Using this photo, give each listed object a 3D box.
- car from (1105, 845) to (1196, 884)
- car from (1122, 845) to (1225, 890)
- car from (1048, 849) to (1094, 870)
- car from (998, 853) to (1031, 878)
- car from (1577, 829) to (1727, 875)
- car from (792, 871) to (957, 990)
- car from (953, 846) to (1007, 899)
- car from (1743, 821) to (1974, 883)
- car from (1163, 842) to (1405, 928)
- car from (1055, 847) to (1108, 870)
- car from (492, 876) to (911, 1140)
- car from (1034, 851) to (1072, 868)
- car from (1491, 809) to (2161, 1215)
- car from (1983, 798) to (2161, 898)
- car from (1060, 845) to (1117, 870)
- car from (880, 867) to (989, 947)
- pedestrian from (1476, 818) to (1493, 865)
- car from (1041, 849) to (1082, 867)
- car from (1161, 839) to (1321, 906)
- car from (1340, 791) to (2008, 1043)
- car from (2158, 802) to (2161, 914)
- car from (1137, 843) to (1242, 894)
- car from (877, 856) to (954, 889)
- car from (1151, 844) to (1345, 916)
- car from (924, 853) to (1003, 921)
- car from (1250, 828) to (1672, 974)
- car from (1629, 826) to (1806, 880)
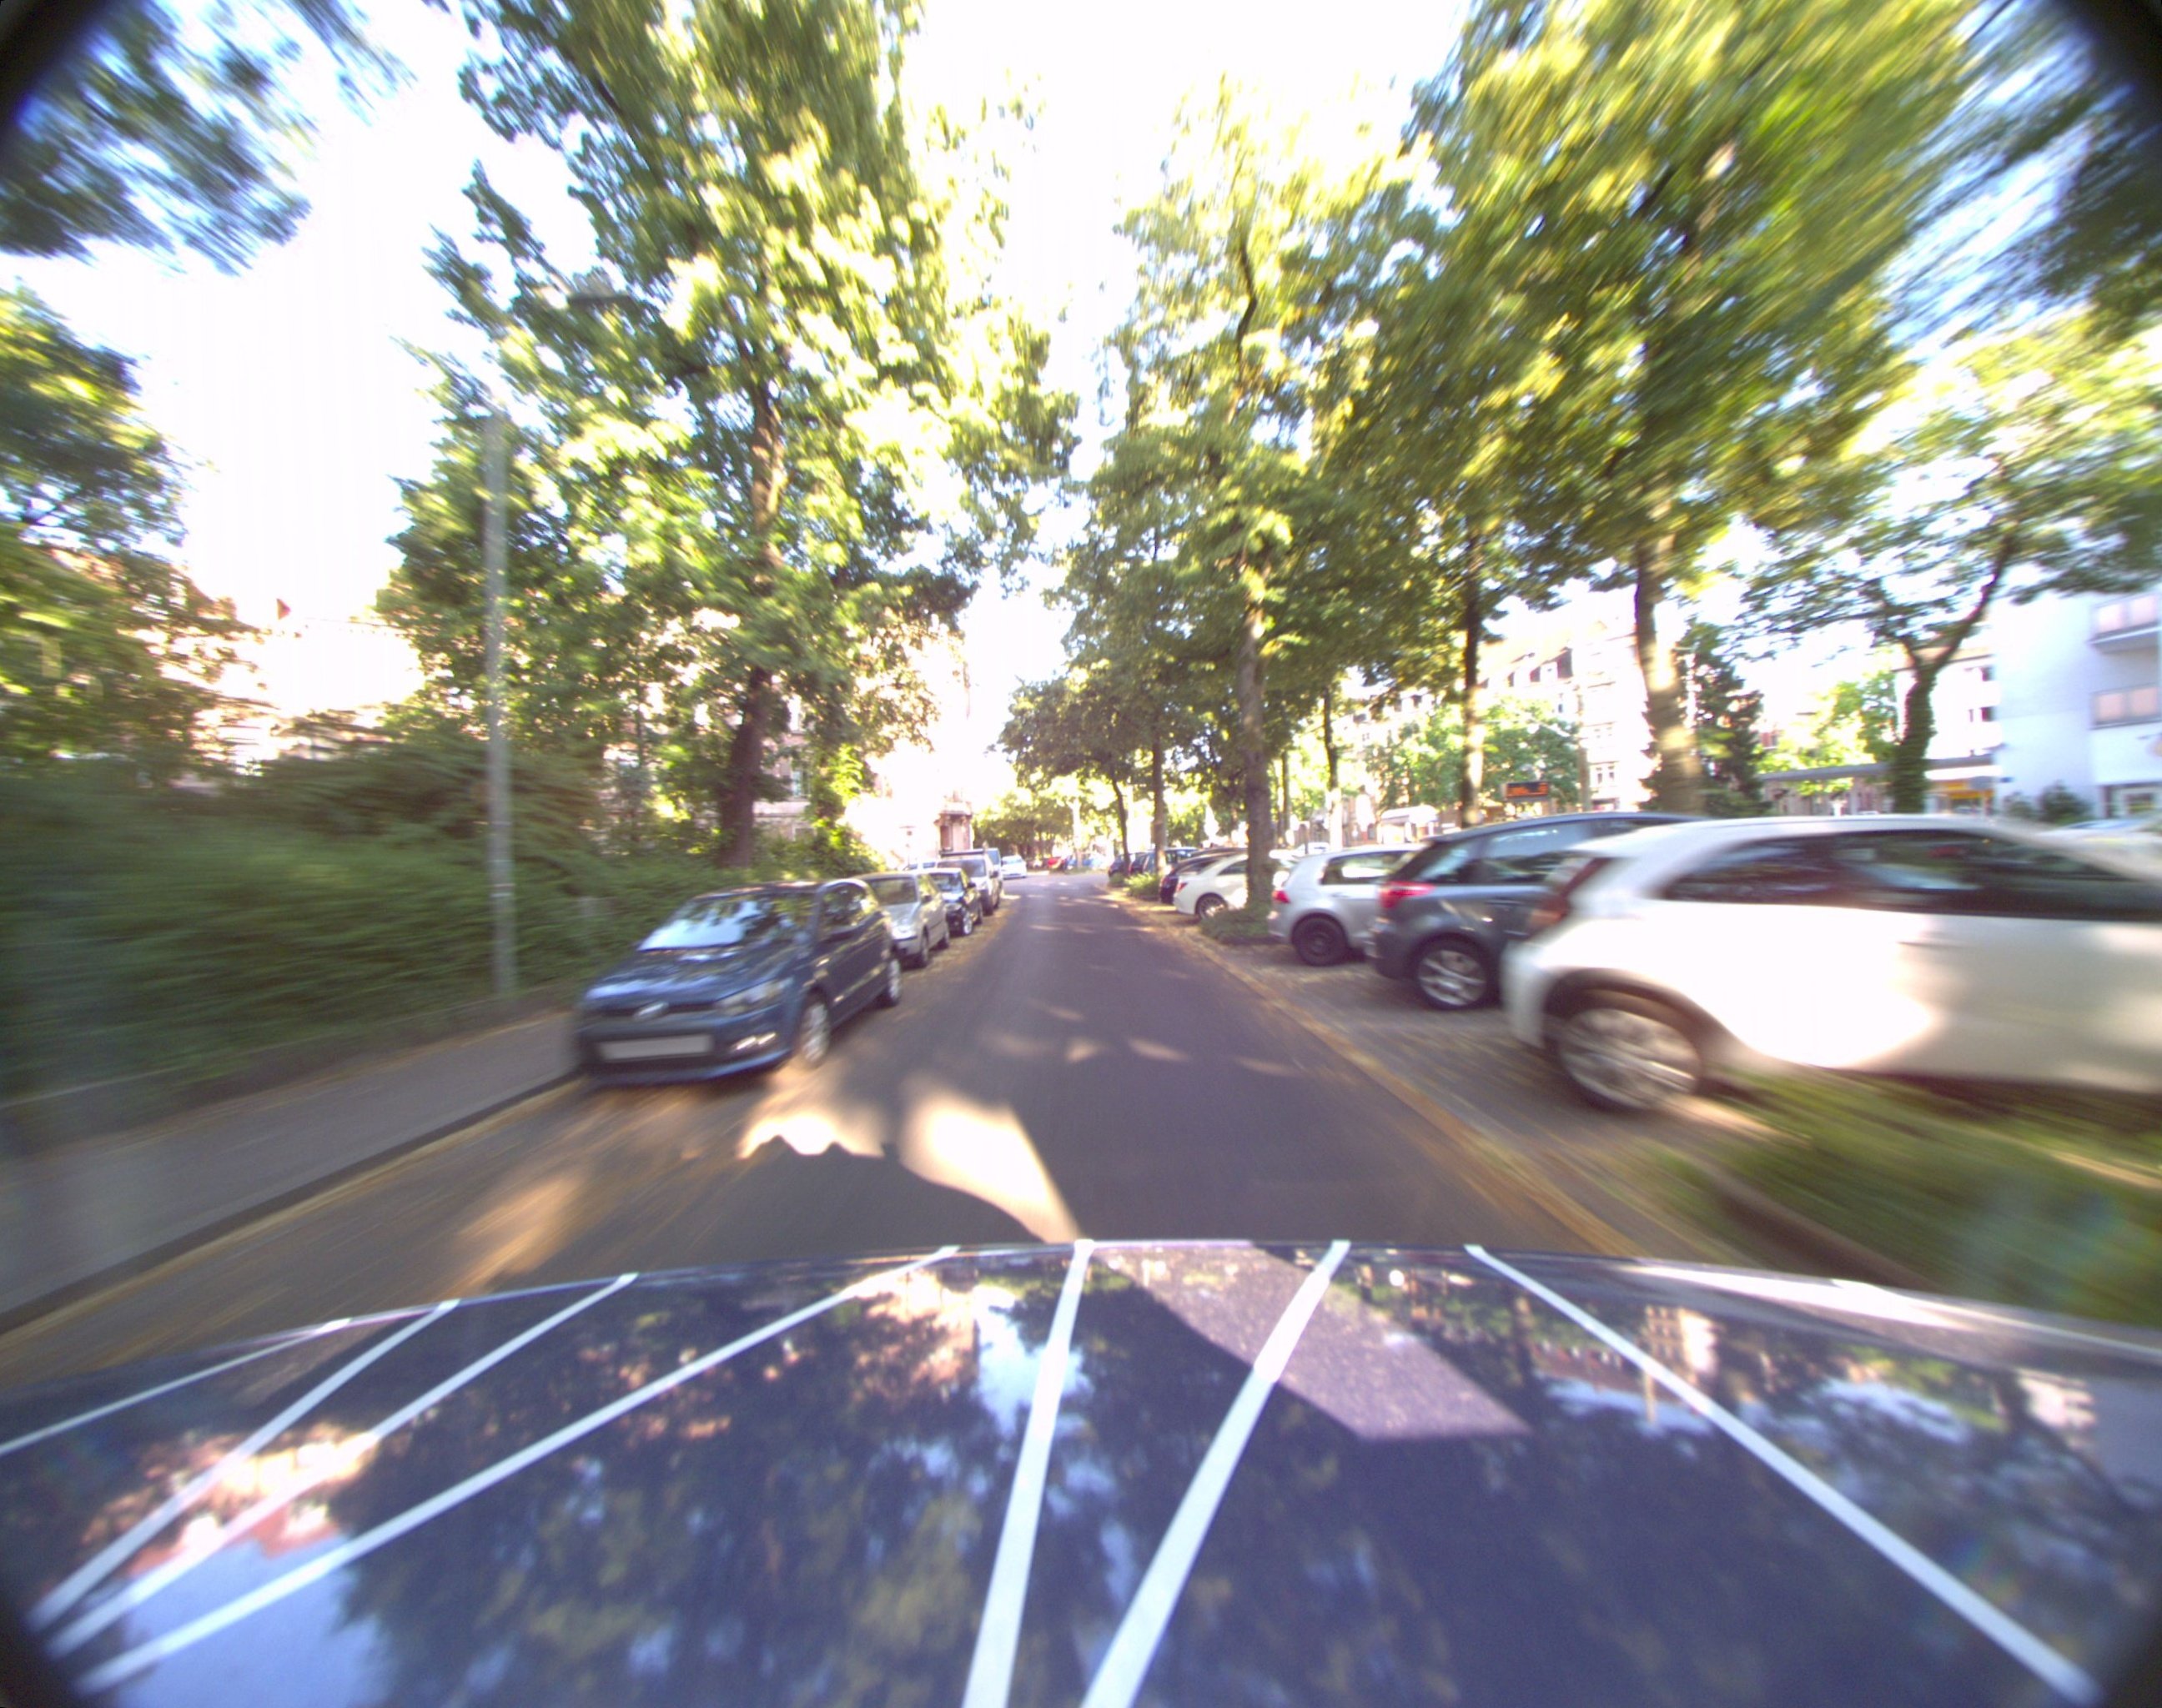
[{"bbox_3d":[3.309,0.496,36.340,3.889,1.440,1.637,-5,2,25],"label":"car"},{"bbox_3d":[3.753,0.539,30.679,3.687,1.440,1.637,-5,2,25],"label":"car"},{"bbox_3d":[-1.023,0.555,78.239,4.235,1.658,1.636,-5,2,20],"label":"car"},{"bbox_3d":[-4.982,0.801,56.552,1.942,1.613,4.239,-6,1,-10],"label":"car"},{"bbox_3d":[19.670,-0.086,26.404,3.989,1.510,1.590,0,2,30],"label":"car"},{"bbox_3d":[-3.162,1.096,12.432,1.677,1.450,3.892,-3,0,-2],"label":"car"},{"bbox_3d":[-4.188,0.699,31.819,1.972,1.924,5.452,-3,0,-7],"label":"car"},{"bbox_3d":[20.253,-0.039,20.046,3.872,1.436,1.857,-2,1,30],"label":"car"},{"bbox_3d":[4.182,0.656,15.823,4.456,1.396,1.860,-5,0,28],"label":"car"},{"bbox_3d":[0.078,0.415,67.306,4.235,1.613,1.636,-5,2,20],"label":"car"},{"bbox_3d":[-2.835,1.035,6.756,1.676,1.450,3.893,-3,0,0],"label":"car"},{"bbox_3d":[-3.390,0.713,92.861,4.235,1.658,1.636,-5,2,20],"label":"car"},{"bbox_3d":[4.258,0.646,3.935,3.542,1.485,1.828,-5,1,32],"label":"car"},{"bbox_3d":[20.534,-0.144,14.245,4.309,1.807,1.817,-1,1,28],"label":"car"},{"bbox_3d":[0.634,0.293,64.656,4.434,1.613,1.636,-5,2,20],"label":"car"},{"bbox_3d":[-3.149,1.082,17.104,1.677,1.382,4.265,-3,0,-2],"label":"car"},{"bbox_3d":[17.603,-0.562,33.132,0.536,2.002,0.644,-2,1,31],"label":"pedestrian"},{"bbox_3d":[-2.178,0.443,86.902,4.235,1.658,1.636,-5,2,20],"label":"car"},{"bbox_3d":[4.516,0.513,21.394,3.992,1.503,1.963,-5,0,23],"label":"car"},{"bbox_3d":[4.564,0.535,6.655,4.032,1.653,1.859,-5,1,25],"label":"car"},{"bbox_3d":[20.698,0.047,11.424,4.805,2.002,2.004,-1,1,37],"label":"car"},{"bbox_3d":[3.965,0.522,27.826,3.346,1.559,1.574,-5,0,27],"label":"car"},{"bbox_3d":[-9.718,1.064,44.663,4.006,1.637,1.681,-3,-2,-31],"label":"car"},{"bbox_3d":[4.111,0.652,18.779,4.304,1.396,1.747,-5,0,25],"label":"car"},{"bbox_3d":[-3.343,0.871,22.385,1.792,1.698,4.375,-3,0,-3],"label":"car"},{"bbox_3d":[4.516,0.606,9.522,4.234,1.432,1.859,-5,1,28],"label":"car"},{"bbox_3d":[19.313,-0.030,23.298,3.872,1.436,1.857,-2,1,30],"label":"car"}]
